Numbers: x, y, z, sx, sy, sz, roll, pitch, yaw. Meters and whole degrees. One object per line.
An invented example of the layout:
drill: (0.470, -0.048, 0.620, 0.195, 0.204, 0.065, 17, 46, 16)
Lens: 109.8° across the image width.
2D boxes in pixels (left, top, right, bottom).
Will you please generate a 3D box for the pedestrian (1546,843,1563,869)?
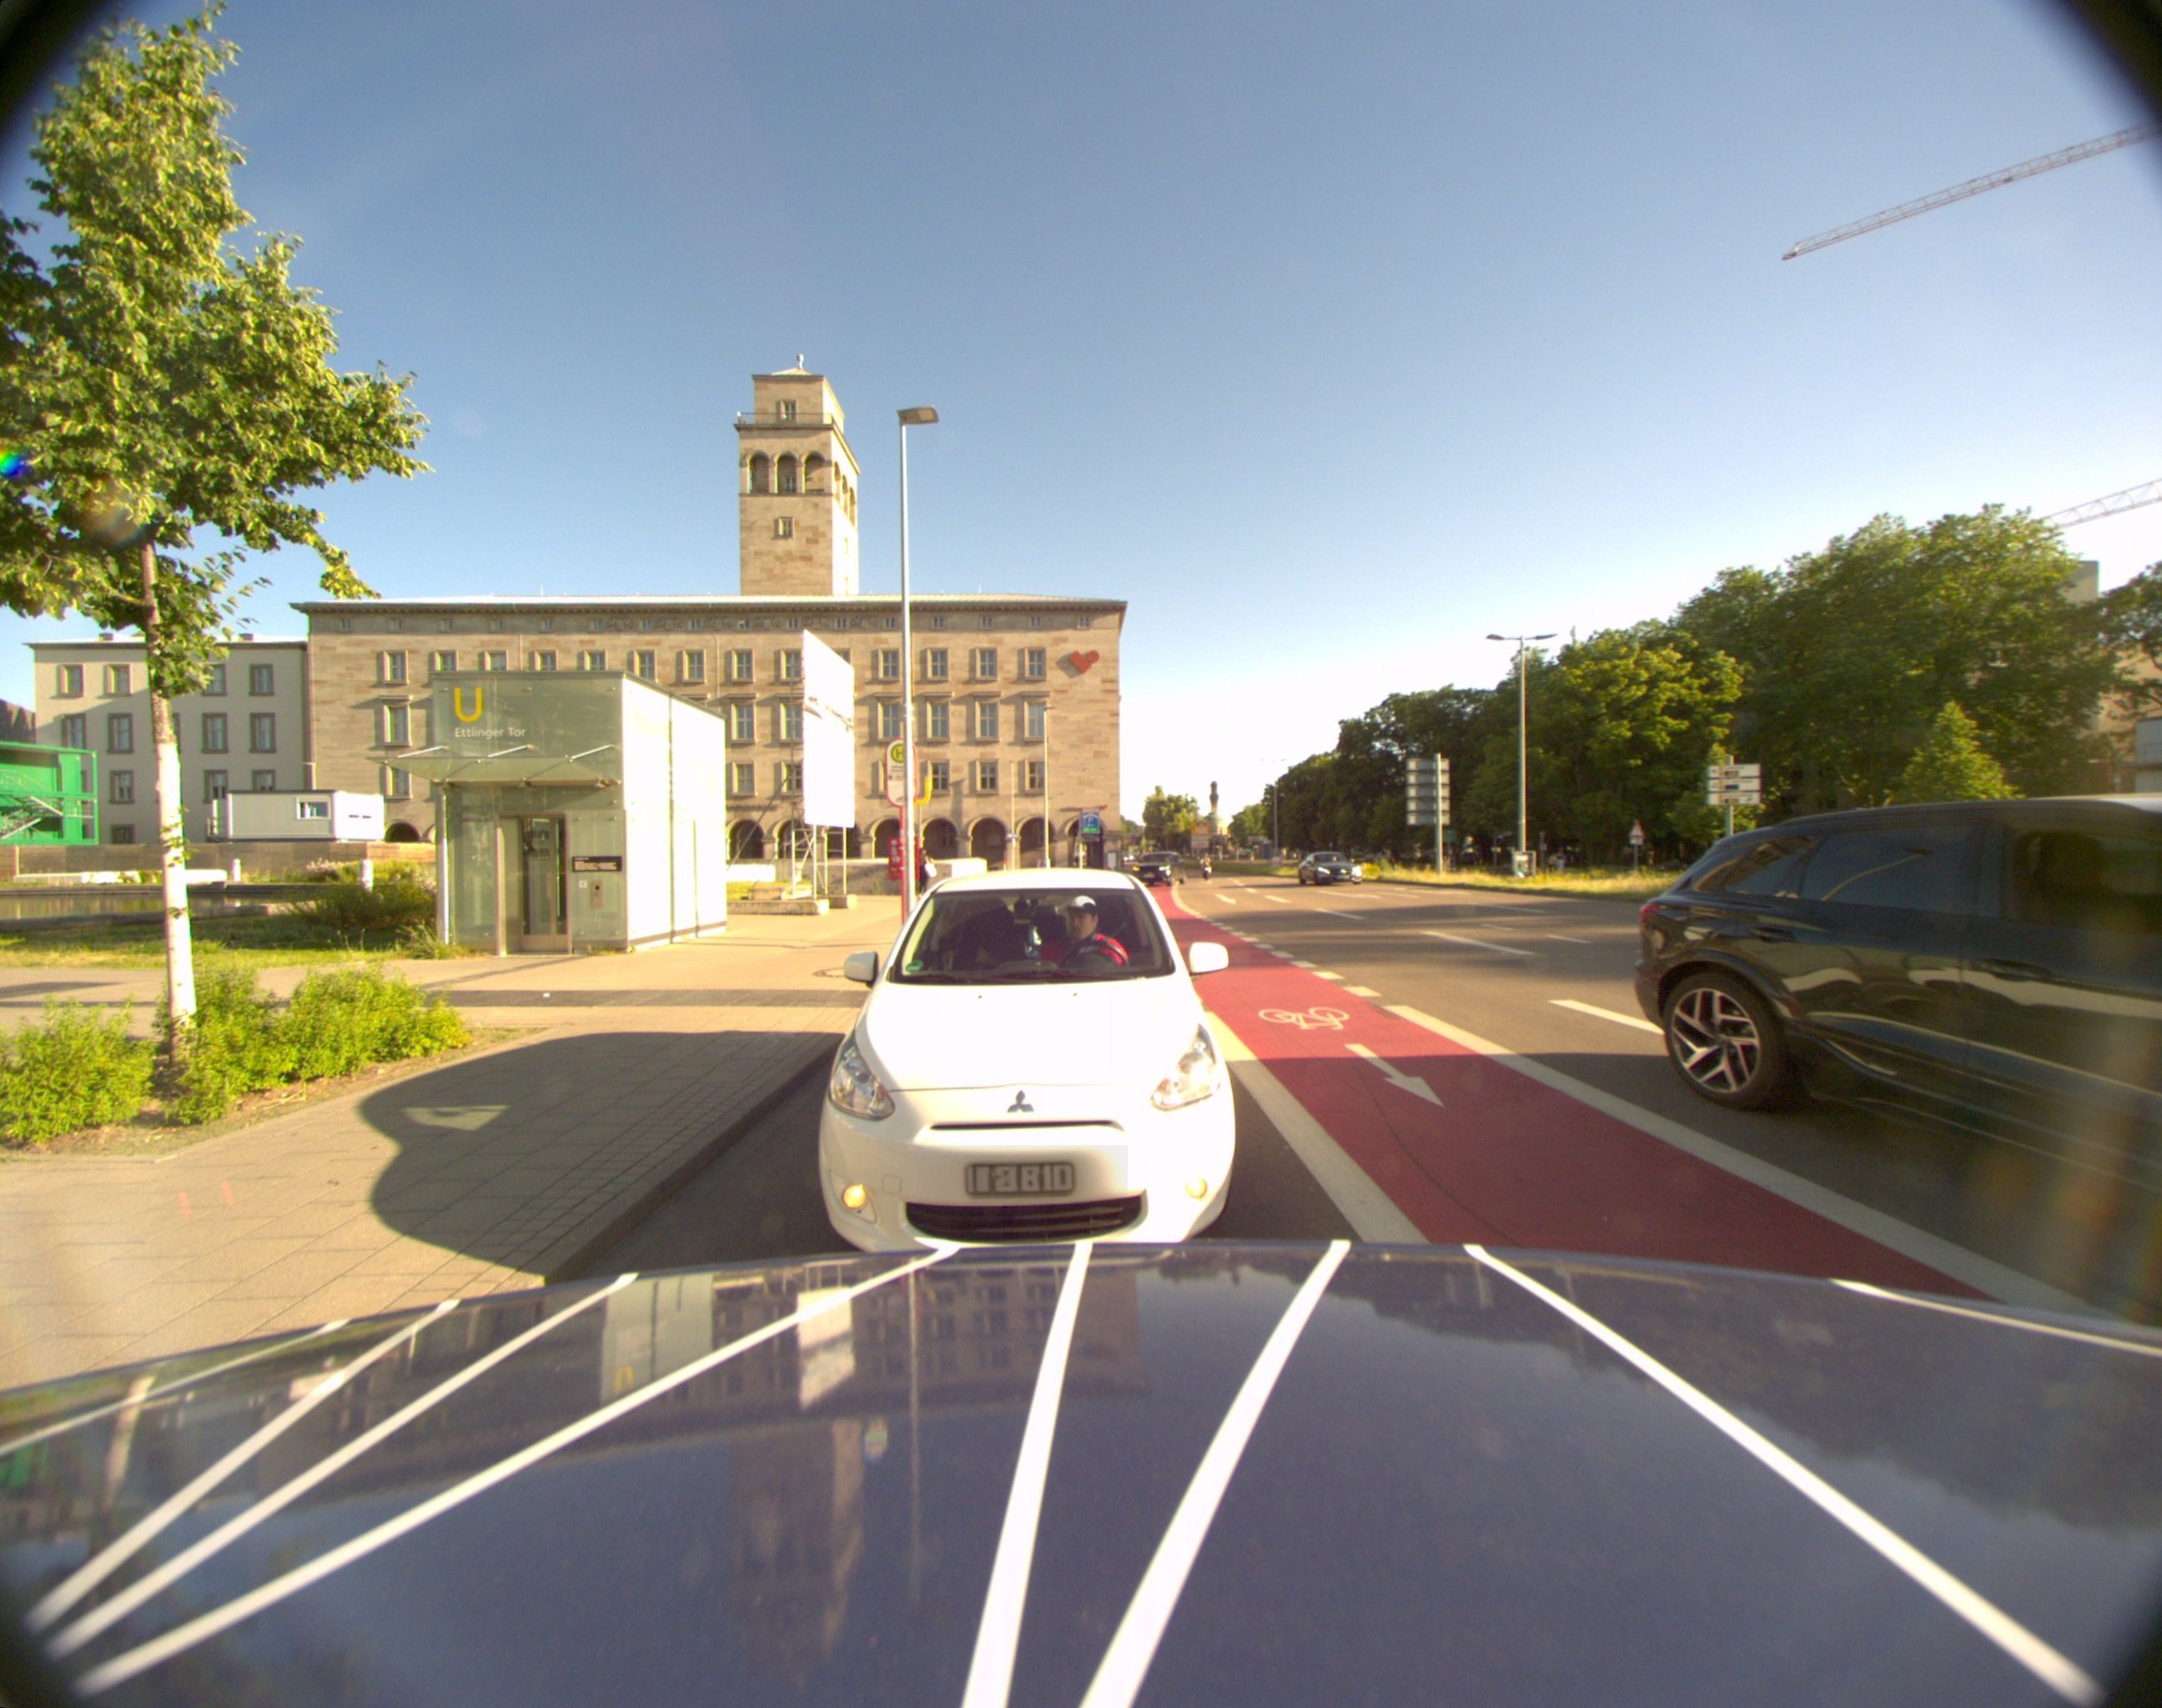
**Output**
pedestrian: (31.963, 0.148, 51.310, 0.707, 1.715, 0.762, -1, 1, 1)

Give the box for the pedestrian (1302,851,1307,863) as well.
pedestrian: (32.605, 0.420, 110.739, 0.568, 1.837, 0.734, -1, 1, -1)

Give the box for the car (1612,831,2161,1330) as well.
car: (4.495, 0.724, 2.677, 1.938, 1.634, 4.615, -1, 0, -1)

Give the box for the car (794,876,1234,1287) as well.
car: (-0.212, 0.958, 4.931, 1.678, 1.440, 3.889, -2, 0, 2)

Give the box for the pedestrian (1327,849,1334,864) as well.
pedestrian: (32.278, 0.304, 98.416, 0.628, 1.837, 0.925, -1, 1, -1)

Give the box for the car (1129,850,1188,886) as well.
car: (3.931, 0.649, 37.750, 1.996, 1.709, 4.331, 0, 0, 19)

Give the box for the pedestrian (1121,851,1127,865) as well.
pedestrian: (5.701, 0.548, 99.987, 0.704, 1.843, 0.828, -1, 1, 0)

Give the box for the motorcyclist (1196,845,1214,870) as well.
motorcyclist: (7.334, 0.202, 45.035, 0.974, 1.405, 1.059, -2, 1, 9)

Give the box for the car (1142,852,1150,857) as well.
car: (17.949, 0.215, 209.859, 1.872, 1.390, 4.000, -1, 0, 1)

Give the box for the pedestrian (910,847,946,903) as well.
pedestrian: (-4.968, 0.671, 24.704, 0.942, 1.776, 1.072, 0, 1, 1)

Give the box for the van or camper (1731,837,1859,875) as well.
van or camper: (42.300, 0.083, 45.087, 5.649, 2.002, 1.948, -2, 1, 2)

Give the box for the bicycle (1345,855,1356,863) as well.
bicycle: (32.163, 0.592, 90.697, 0.610, 0.838, 1.745, -1, 0, -1)

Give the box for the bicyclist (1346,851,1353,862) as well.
bicyclist: (32.127, 0.255, 90.802, 0.610, 1.274, 0.715, -1, 1, -1)

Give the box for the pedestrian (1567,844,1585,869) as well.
pedestrian: (33.557, 0.158, 51.519, 0.707, 1.715, 0.762, -1, 1, 0)

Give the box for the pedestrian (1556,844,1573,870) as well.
pedestrian: (32.781, 0.187, 51.491, 0.665, 1.715, 0.762, 0, 1, 1)

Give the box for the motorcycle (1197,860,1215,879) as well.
motorcycle: (7.375, 0.919, 44.958, 0.974, 1.008, 2.268, -2, 0, 9)

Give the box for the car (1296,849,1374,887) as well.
car: (10.773, 0.547, 32.557, 1.998, 1.398, 4.489, -2, 0, 3)
